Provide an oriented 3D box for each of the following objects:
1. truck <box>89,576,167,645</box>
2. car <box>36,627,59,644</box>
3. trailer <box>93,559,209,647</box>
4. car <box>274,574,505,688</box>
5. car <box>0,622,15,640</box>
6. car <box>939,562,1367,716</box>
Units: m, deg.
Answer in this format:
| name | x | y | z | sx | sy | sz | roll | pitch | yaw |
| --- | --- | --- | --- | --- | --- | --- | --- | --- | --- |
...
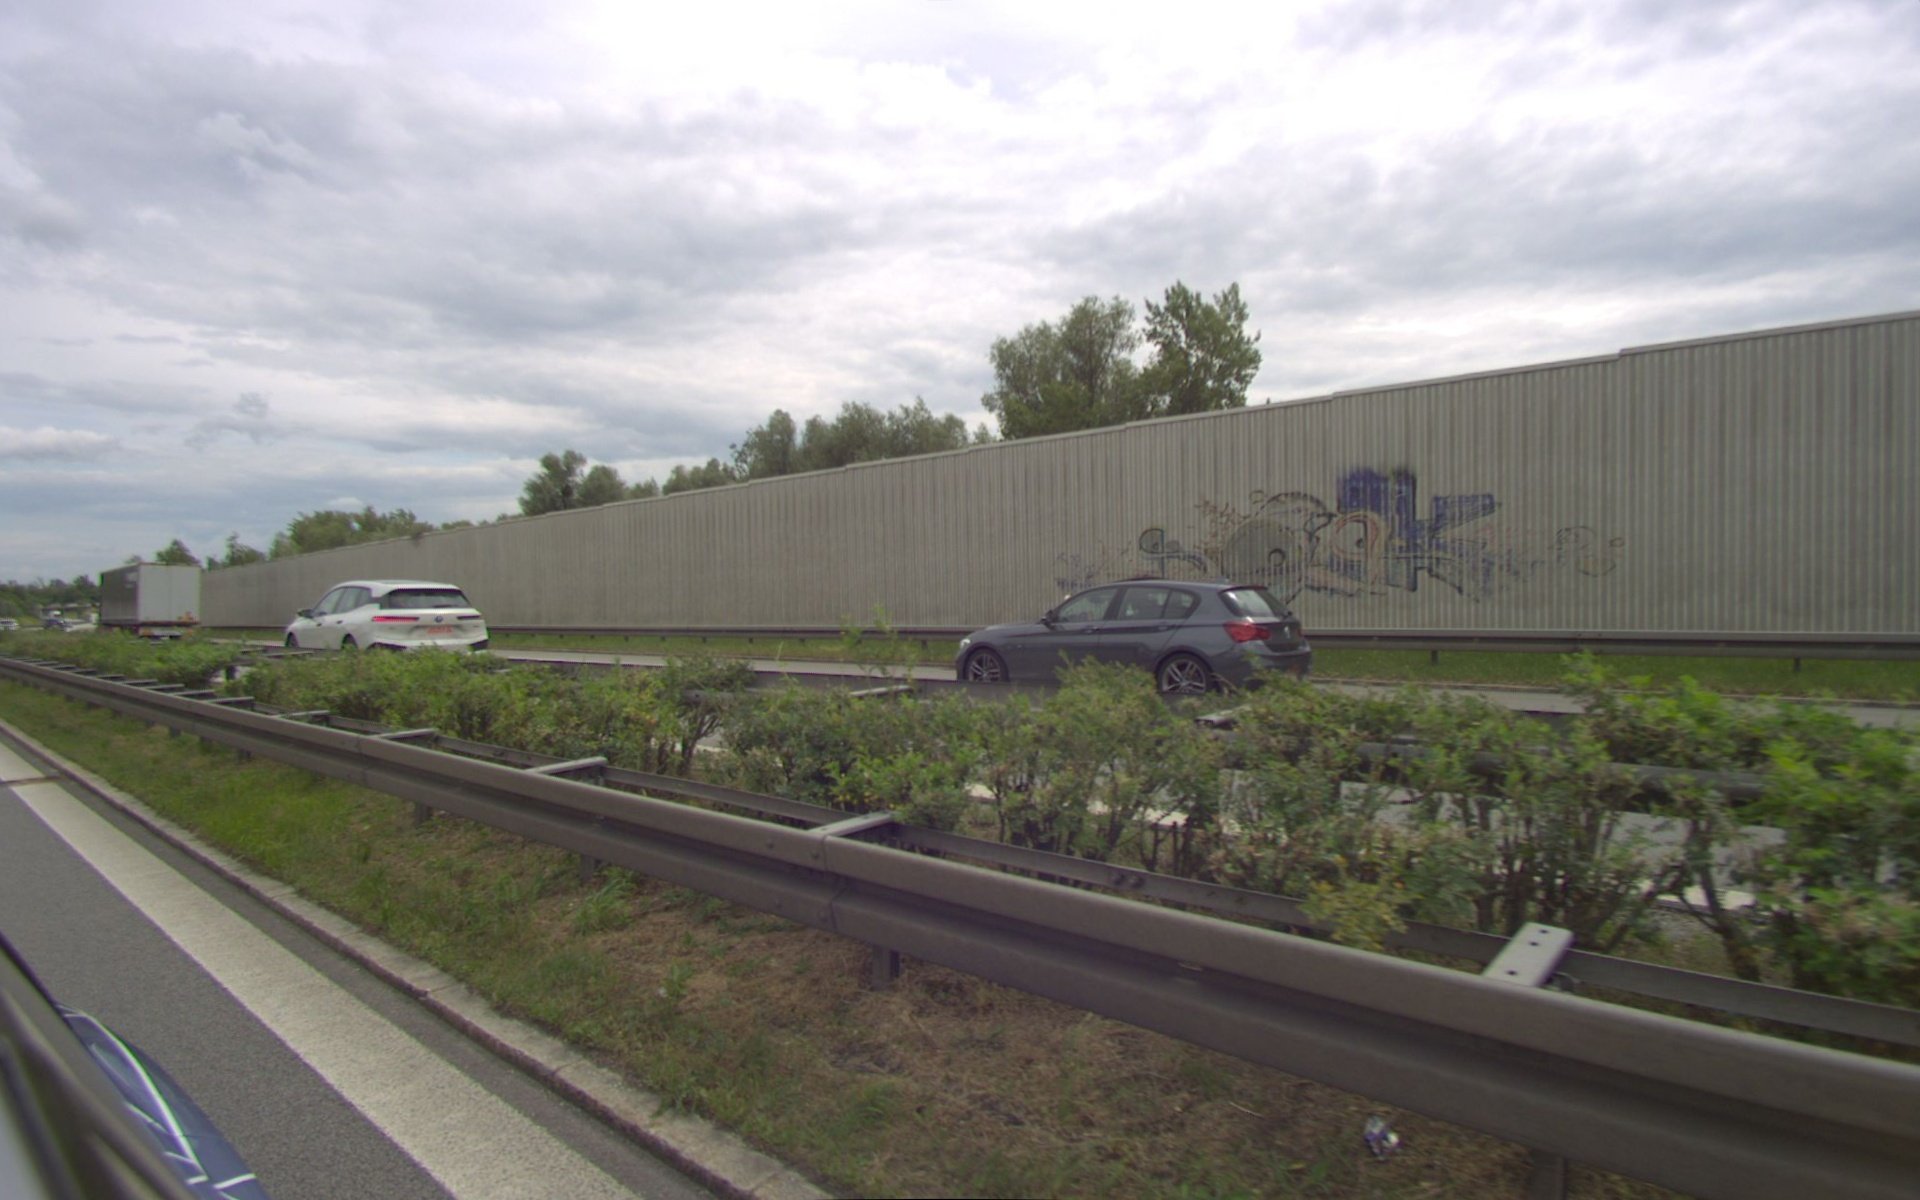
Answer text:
| name | x | y | z | sx | sy | sz | roll | pitch | yaw |
| --- | --- | --- | --- | --- | --- | --- | --- | --- | --- |
| truck | -49.216 | 0.637 | 59.807 | 6.076 | 3.888 | 2.842 | -2 | -1 | 44 |
| car | -94.902 | 3.670 | 105.253 | 1.695 | 1.654 | 4.708 | -1 | -1 | -44 |
| trailer | -44.431 | 0.282 | 55.298 | 14.179 | 4.272 | 2.949 | -2 | -1 | 43 |
| car | -9.851 | 0.483 | 17.289 | 4.922 | 1.682 | 1.943 | -1 | 0 | 42 |
| car | -86.886 | 2.799 | 91.512 | 4.568 | 1.560 | 1.909 | -2 | -1 | 44 |
| car | 2.016 | 0.403 | 11.530 | 4.552 | 1.428 | 1.704 | -1 | -1 | 41 |
